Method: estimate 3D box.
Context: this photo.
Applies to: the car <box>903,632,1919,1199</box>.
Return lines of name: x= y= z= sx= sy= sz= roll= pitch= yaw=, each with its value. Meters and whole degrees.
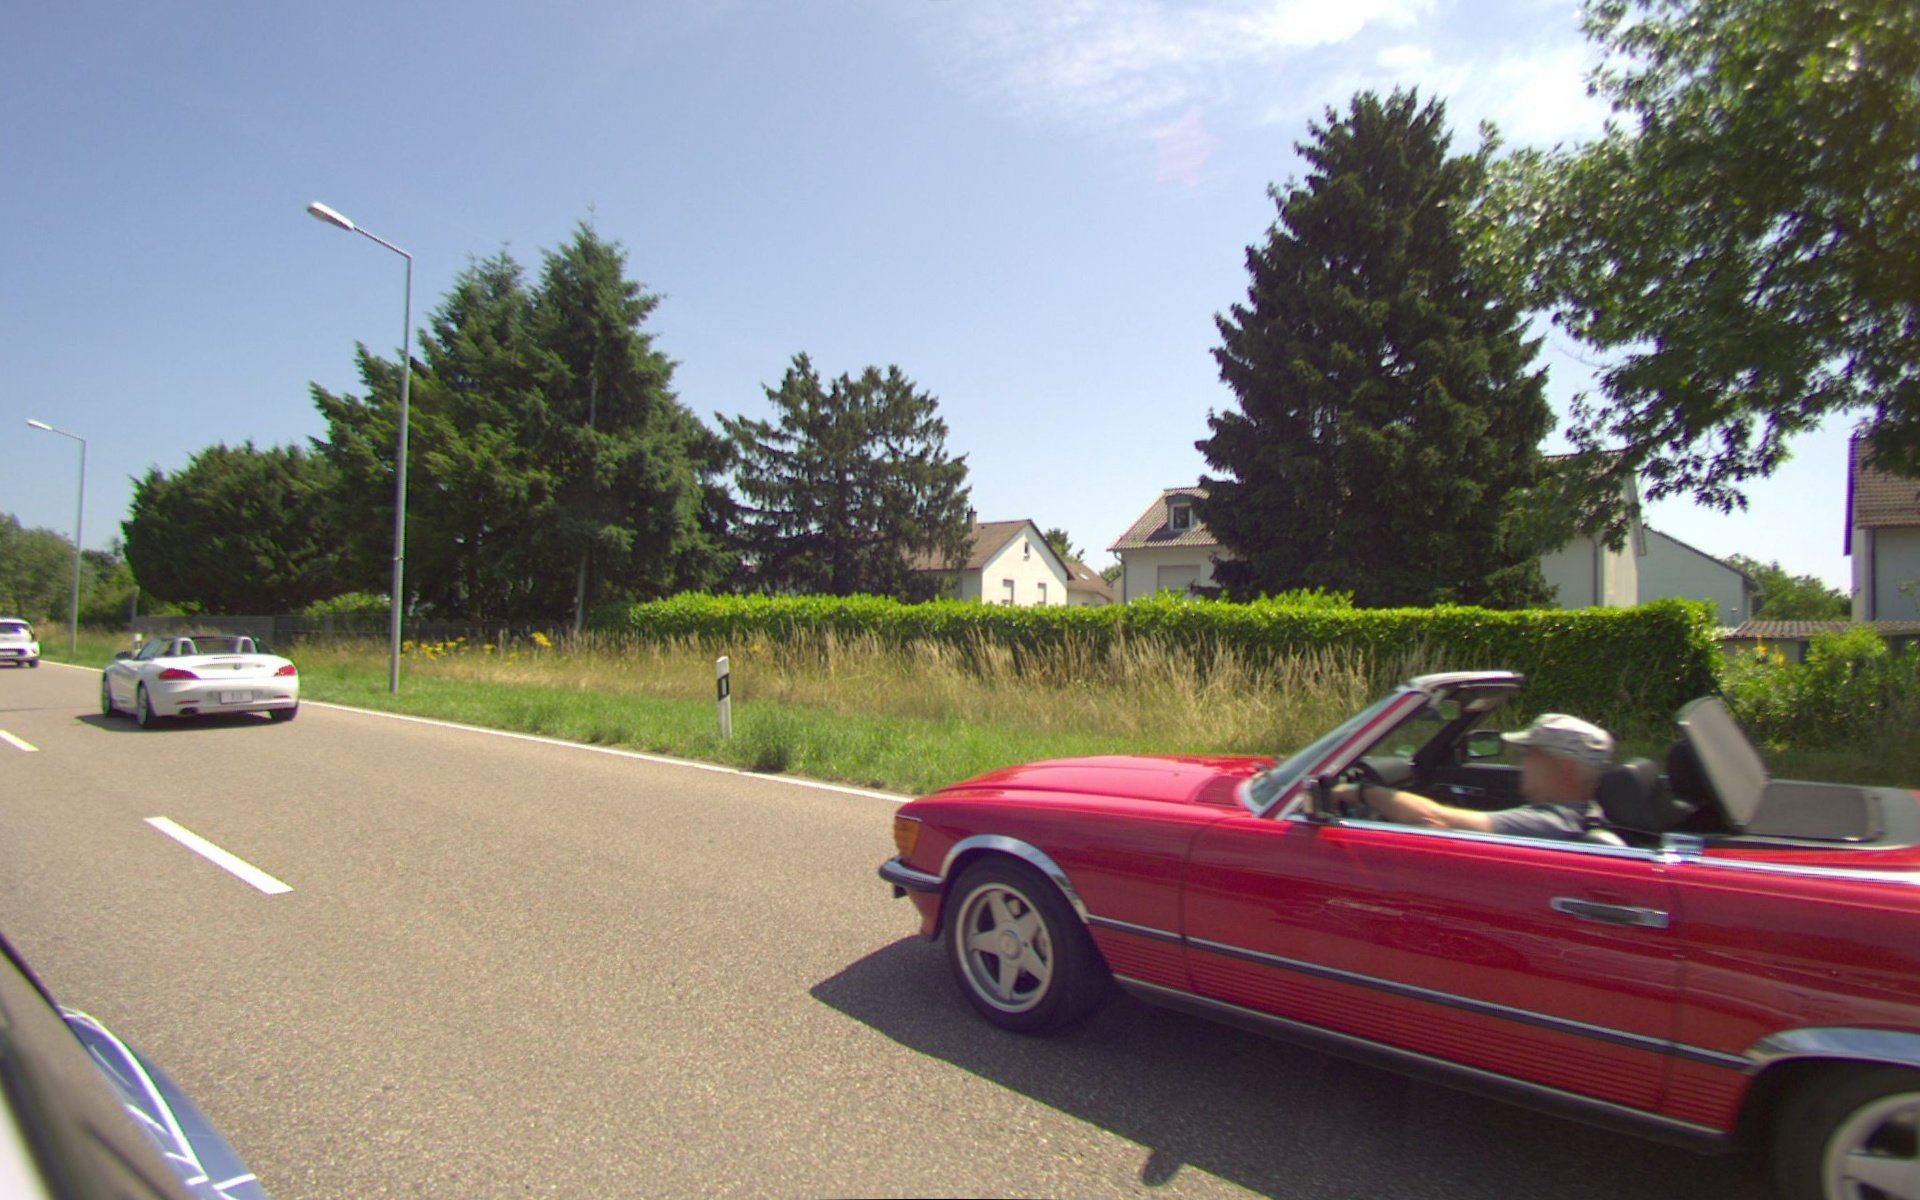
car: x=1.954 y=0.783 z=2.981 sx=4.251 sy=1.311 sz=1.731 roll=0 pitch=-2 yaw=41

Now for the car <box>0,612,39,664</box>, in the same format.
car: x=-29.564 y=1.126 z=30.880 sx=3.705 sy=1.514 sz=1.729 roll=0 pitch=-2 yaw=41

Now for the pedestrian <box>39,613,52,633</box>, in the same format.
pedestrian: x=-67.811 y=1.699 z=75.047 sx=0.632 sy=1.489 sz=0.603 roll=-1 pitch=-2 yaw=38

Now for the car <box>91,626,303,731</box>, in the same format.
car: x=-11.046 y=1.029 z=14.564 sx=3.907 sy=1.259 sz=1.665 roll=0 pitch=-2 yaw=41
